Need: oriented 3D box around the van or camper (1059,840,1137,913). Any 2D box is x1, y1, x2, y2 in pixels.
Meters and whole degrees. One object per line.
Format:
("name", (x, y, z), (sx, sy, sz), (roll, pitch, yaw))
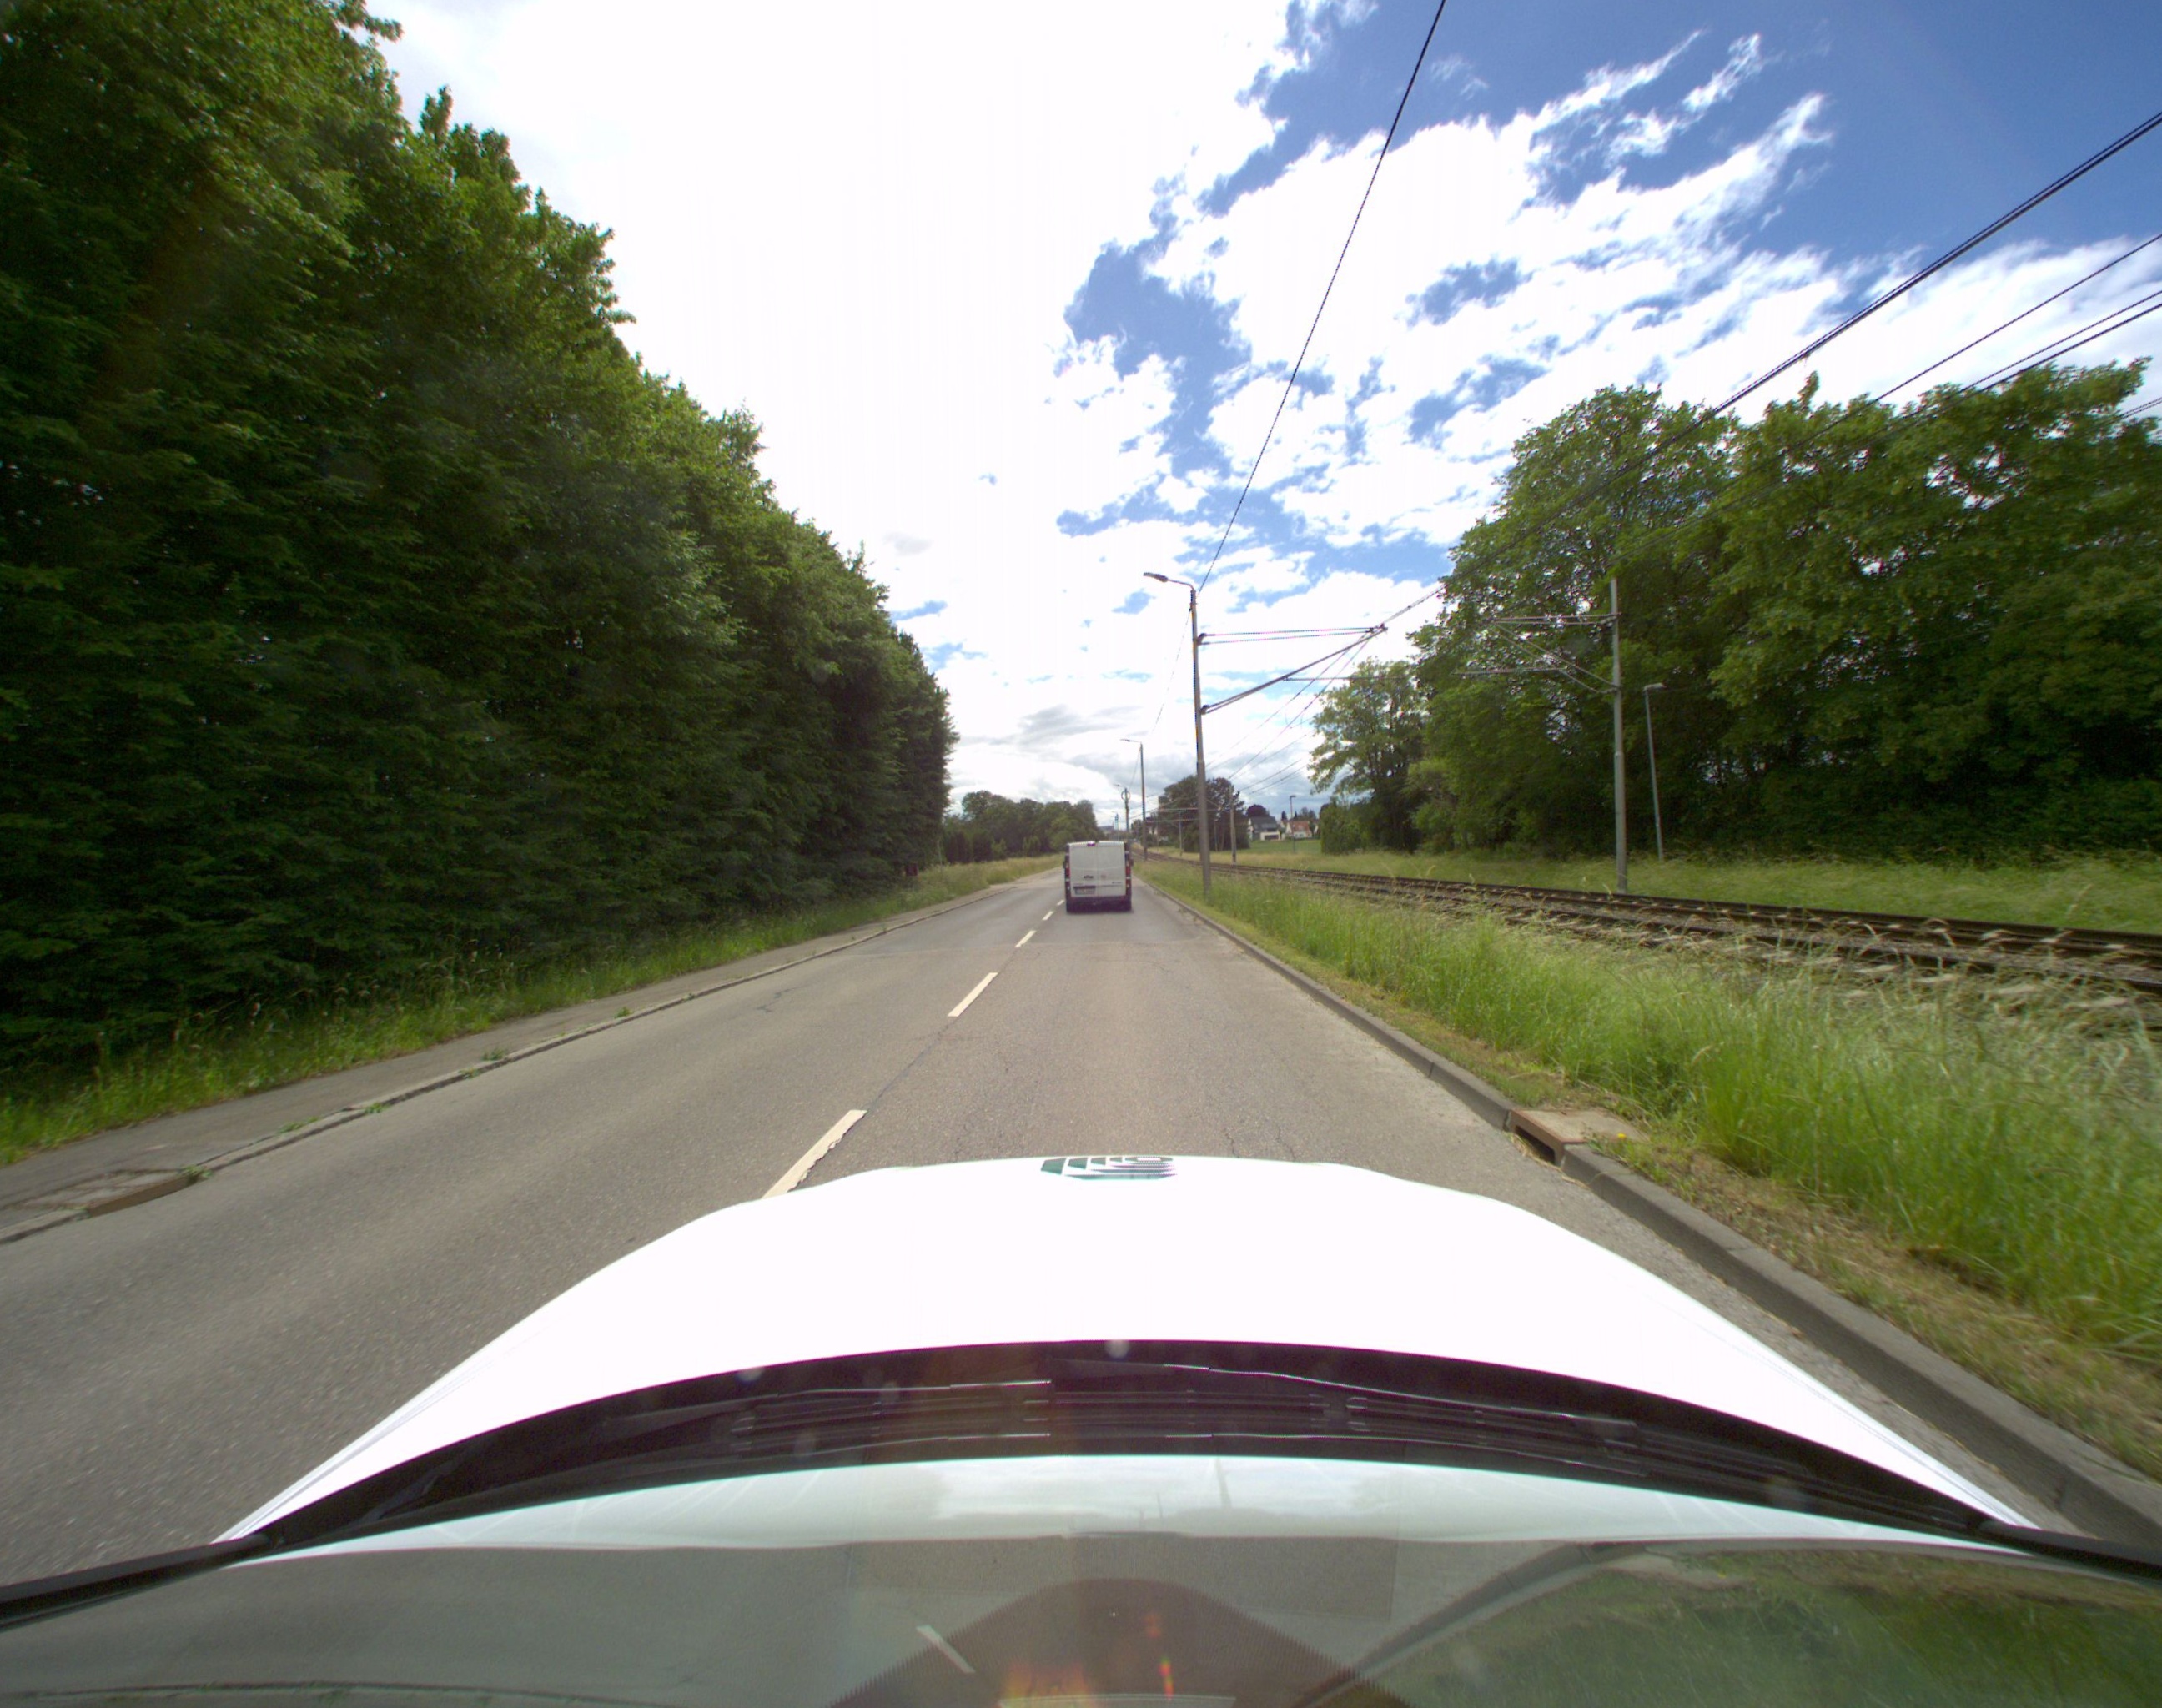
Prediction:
("van or camper", (0.595, 0.563, 24.157), (1.933, 1.897, 4.291), (-2, 1, 5))
